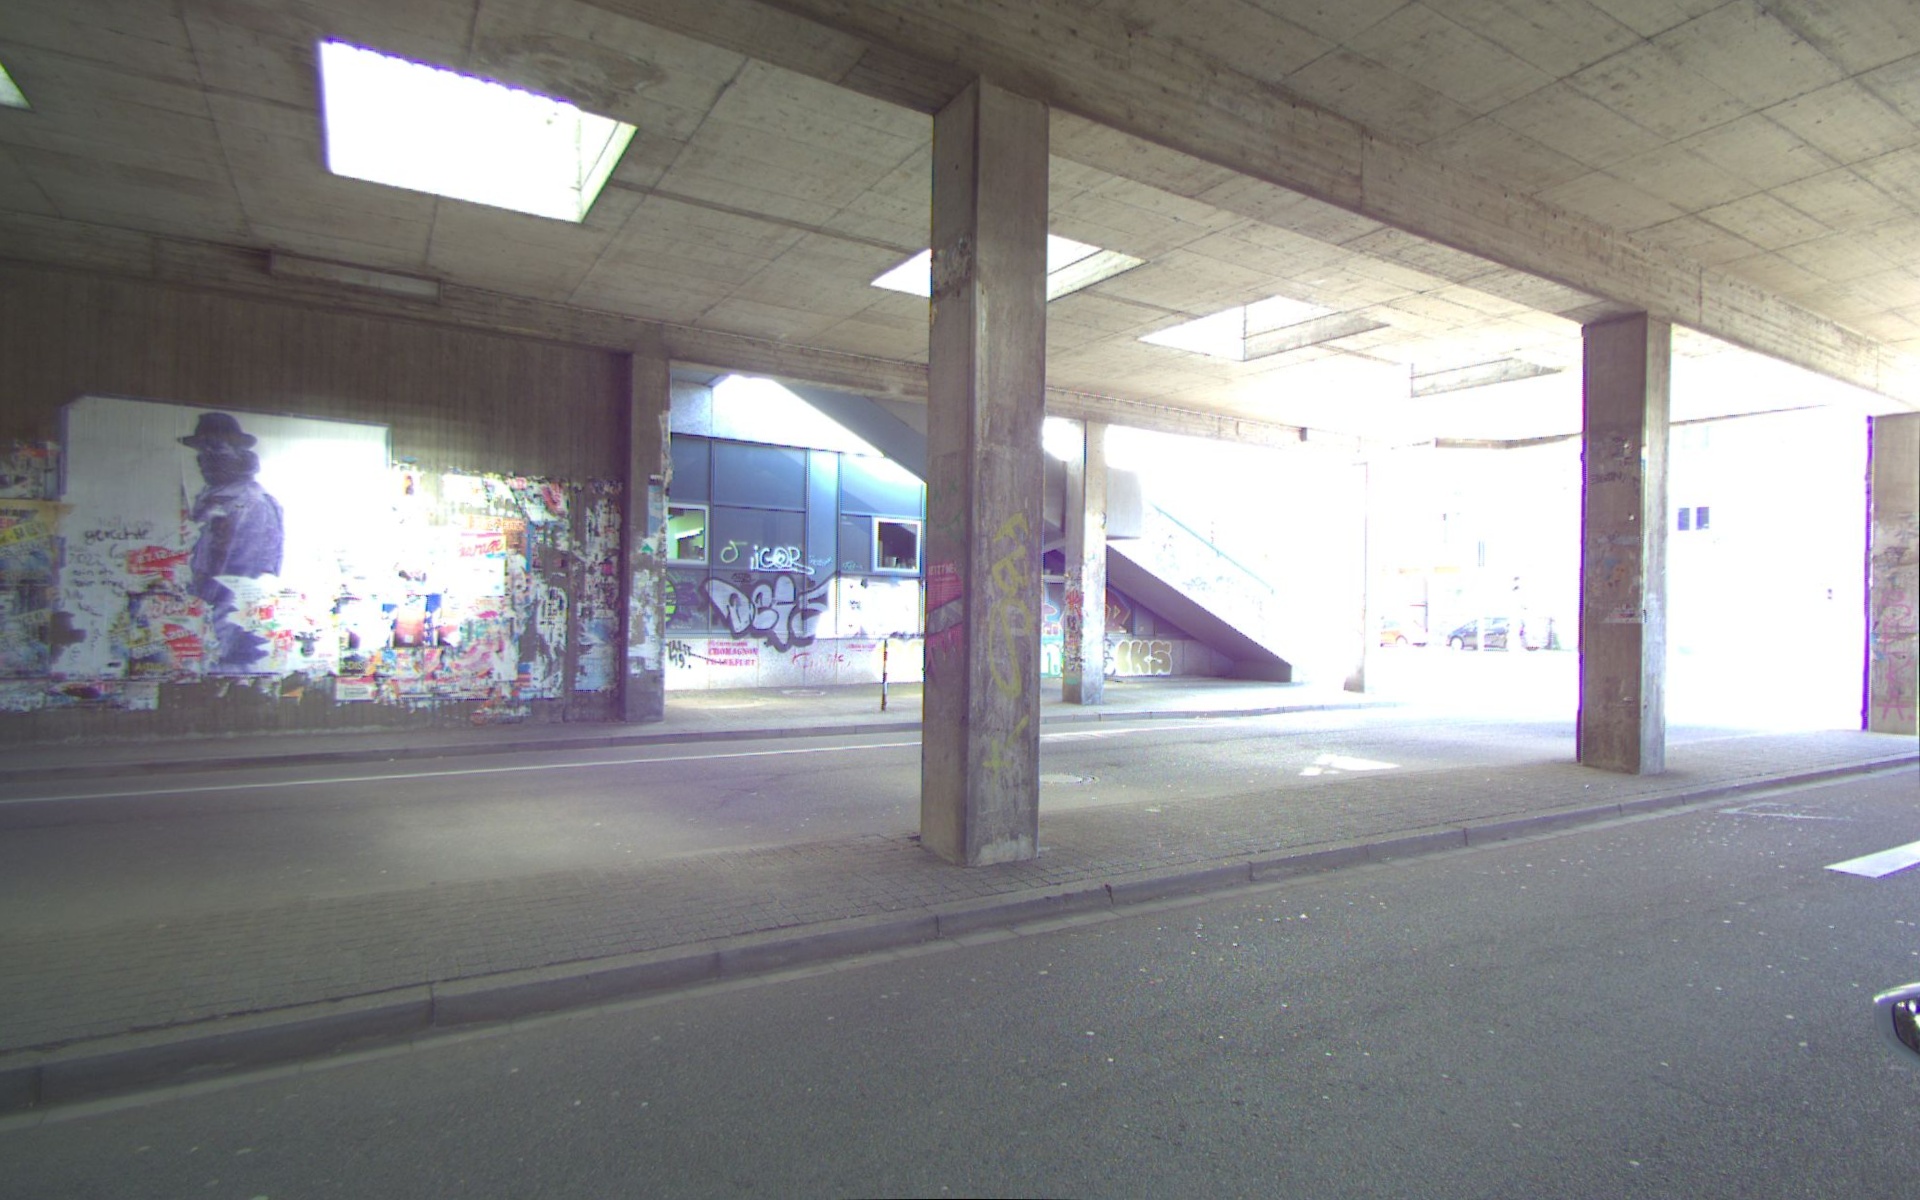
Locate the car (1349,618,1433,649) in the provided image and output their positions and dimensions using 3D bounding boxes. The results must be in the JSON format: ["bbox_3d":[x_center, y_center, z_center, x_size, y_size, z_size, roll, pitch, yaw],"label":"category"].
[{"bbox_3d":[22.529,1.730,52.596,1.730,1.495,3.741,2,-1,-31],"label":"car"}]

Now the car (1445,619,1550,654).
[{"bbox_3d":[25.441,1.713,47.640,1.718,1.495,4.089,2,-1,-31],"label":"car"}]
